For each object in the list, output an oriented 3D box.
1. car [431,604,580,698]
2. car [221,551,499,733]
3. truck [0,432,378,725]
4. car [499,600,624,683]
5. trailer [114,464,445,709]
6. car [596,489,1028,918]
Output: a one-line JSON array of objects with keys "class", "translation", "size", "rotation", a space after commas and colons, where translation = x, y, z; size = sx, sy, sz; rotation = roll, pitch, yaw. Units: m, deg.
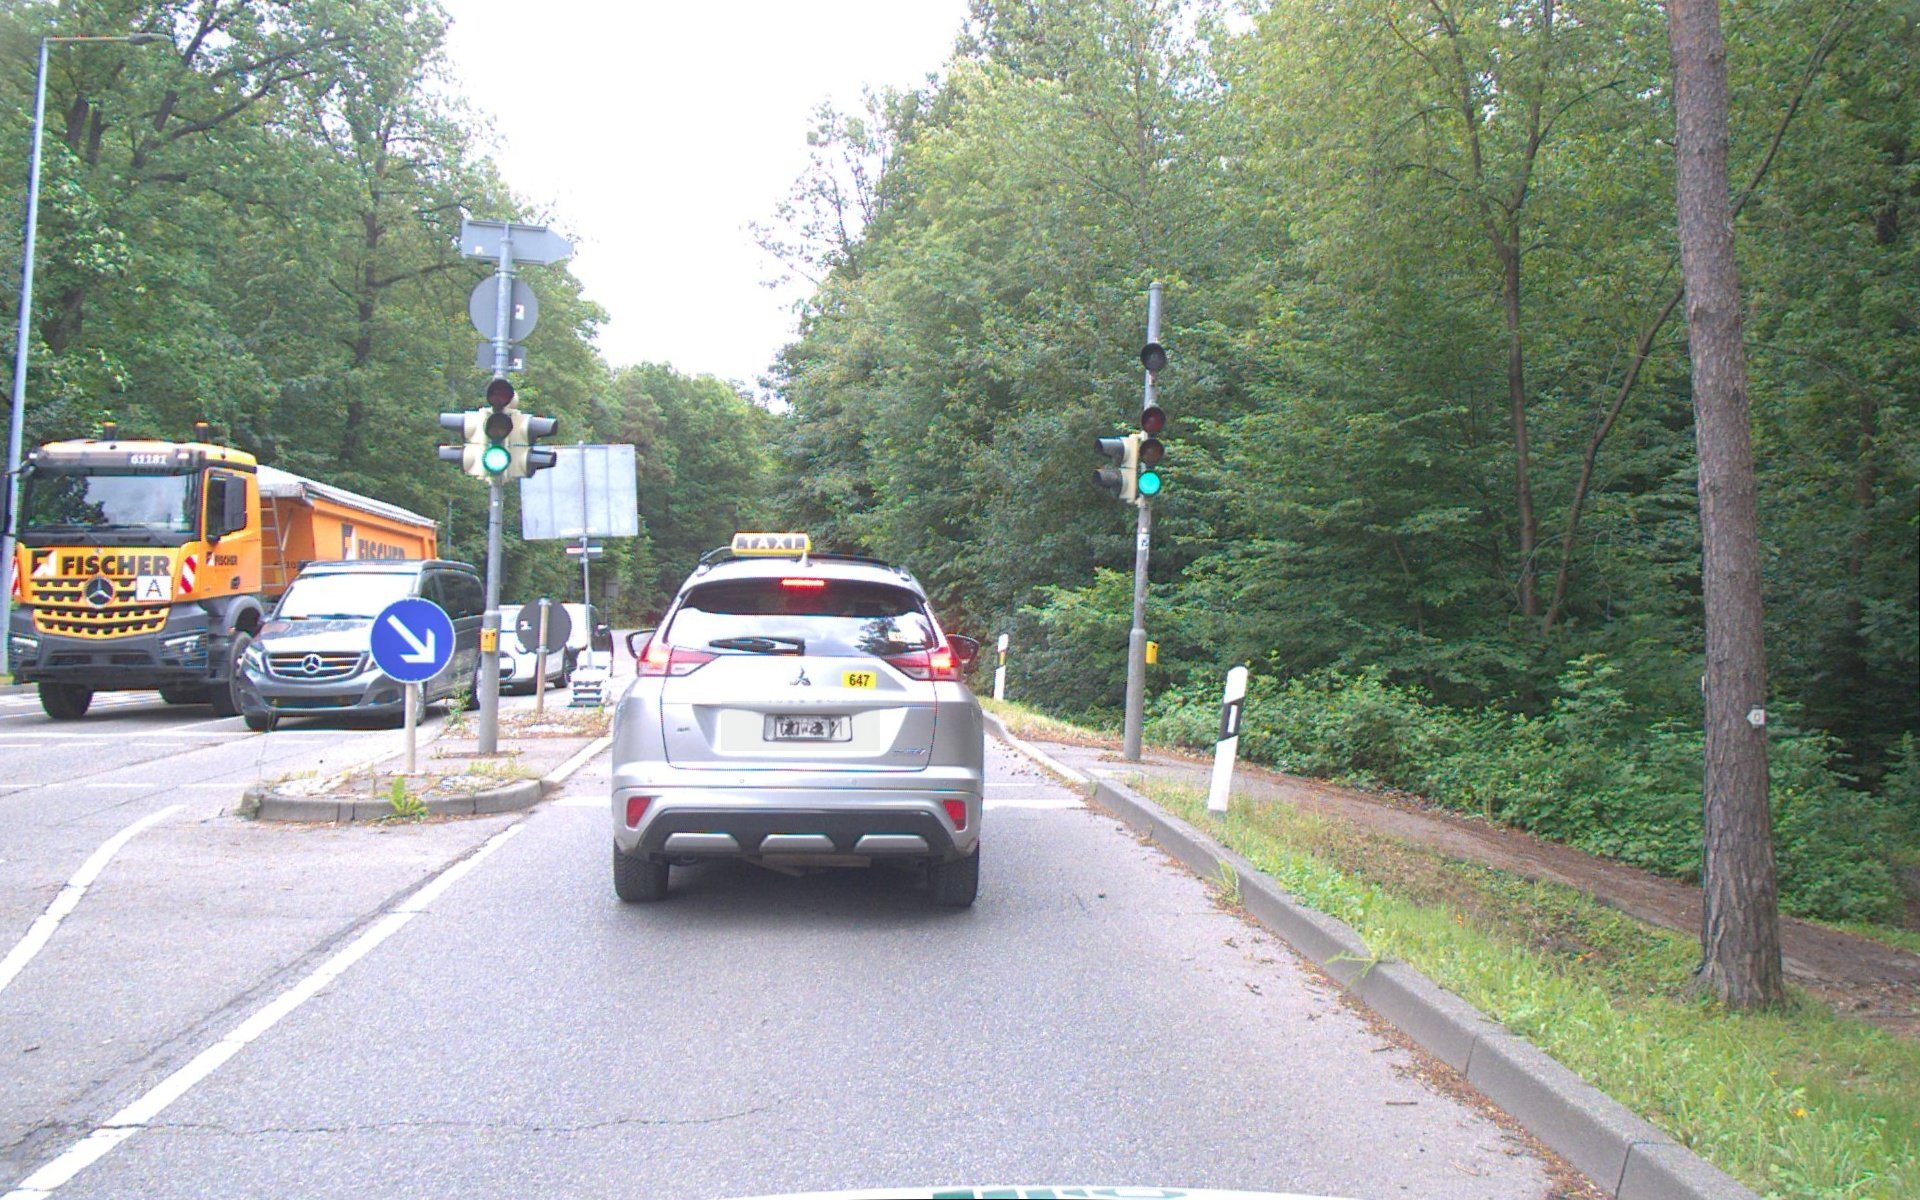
[{"class": "car", "translation": [-7.390, 0.780, 27.213], "size": [1.580, 1.344, 3.719], "rotation": [-1, 1, -3]}, {"class": "car", "translation": [-7.122, 0.468, 20.210], "size": [1.954, 1.927, 4.834], "rotation": [-1, -1, -5]}, {"class": "truck", "translation": [-10.284, -0.200, 22.756], "size": [2.686, 3.376, 7.150], "rotation": [0, -1, -6]}, {"class": "car", "translation": [-7.967, 0.806, 33.368], "size": [1.775, 1.534, 3.719], "rotation": [-1, 0, -3]}, {"class": "trailer", "translation": [-10.730, -0.133, 27.157], "size": [2.686, 3.376, 8.557], "rotation": [0, -1, -6]}, {"class": "car", "translation": [-0.855, 0.456, 9.120], "size": [1.811, 1.811, 3.994], "rotation": [2, 0, -7]}]
